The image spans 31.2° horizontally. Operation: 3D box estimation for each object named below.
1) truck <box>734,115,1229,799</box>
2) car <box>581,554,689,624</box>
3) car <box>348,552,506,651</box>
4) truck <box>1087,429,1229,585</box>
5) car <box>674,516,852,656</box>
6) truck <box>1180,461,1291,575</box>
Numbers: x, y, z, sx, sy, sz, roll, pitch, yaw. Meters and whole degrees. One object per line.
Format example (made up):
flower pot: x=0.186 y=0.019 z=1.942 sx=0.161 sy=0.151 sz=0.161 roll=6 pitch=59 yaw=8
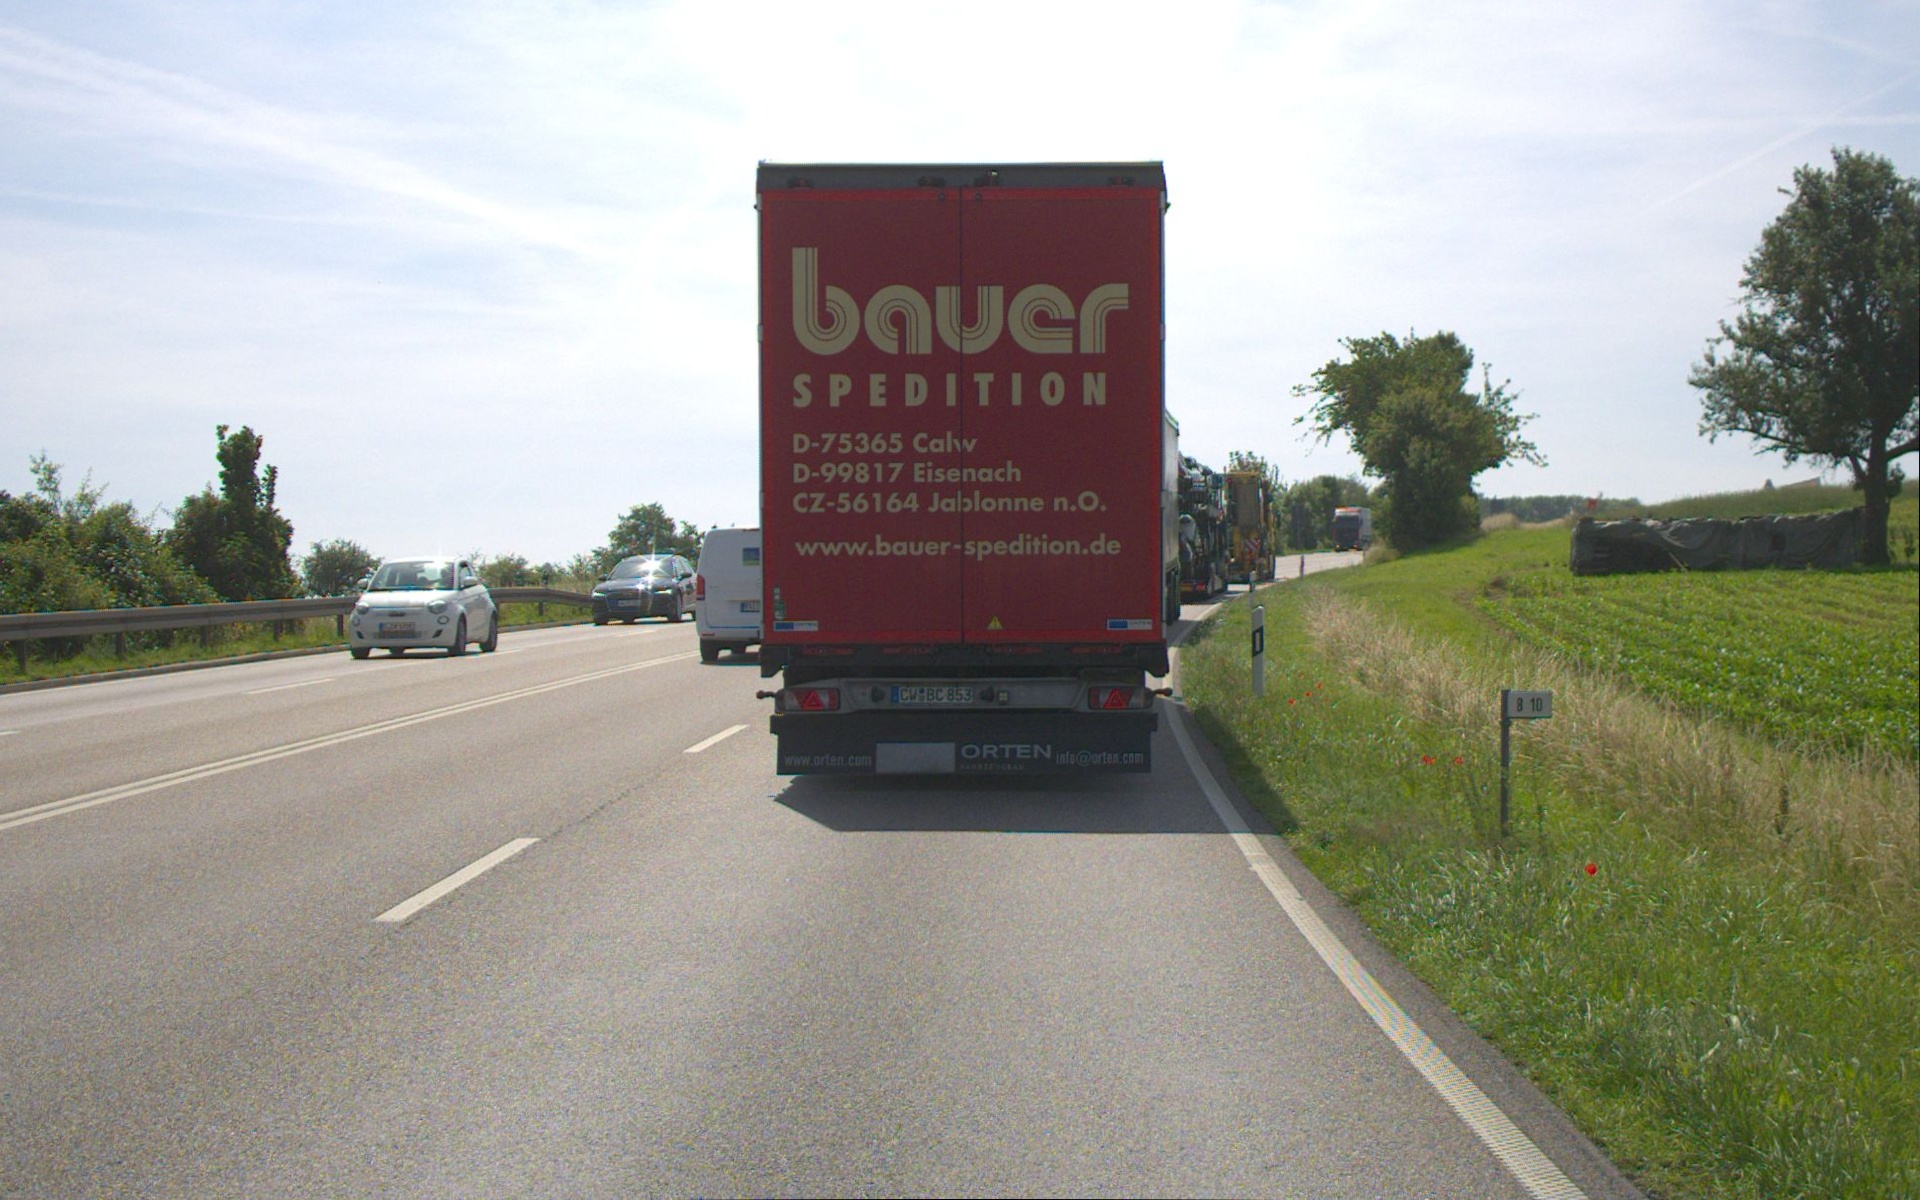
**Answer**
truck: x=0.226 y=-1.007 z=29.380 sx=3.007 sy=4.165 sz=16.714 roll=0 pitch=1 yaw=1
car: x=-7.120 y=-0.275 z=75.731 sx=1.836 sy=1.450 sz=4.326 roll=-1 pitch=1 yaw=2
car: x=-8.199 y=-0.002 z=53.171 sx=1.657 sy=1.452 sz=3.734 roll=-1 pitch=1 yaw=3
truck: x=5.606 y=-2.498 z=94.721 sx=3.047 sy=3.897 sz=15.612 roll=-1 pitch=1 yaw=6
car: x=-2.744 y=-0.226 z=49.078 sx=1.905 sy=1.878 sz=5.431 roll=0 pitch=1 yaw=3
truck: x=10.429 y=-3.012 z=128.448 sx=3.048 sy=3.897 sz=18.392 roll=-1 pitch=1 yaw=8
